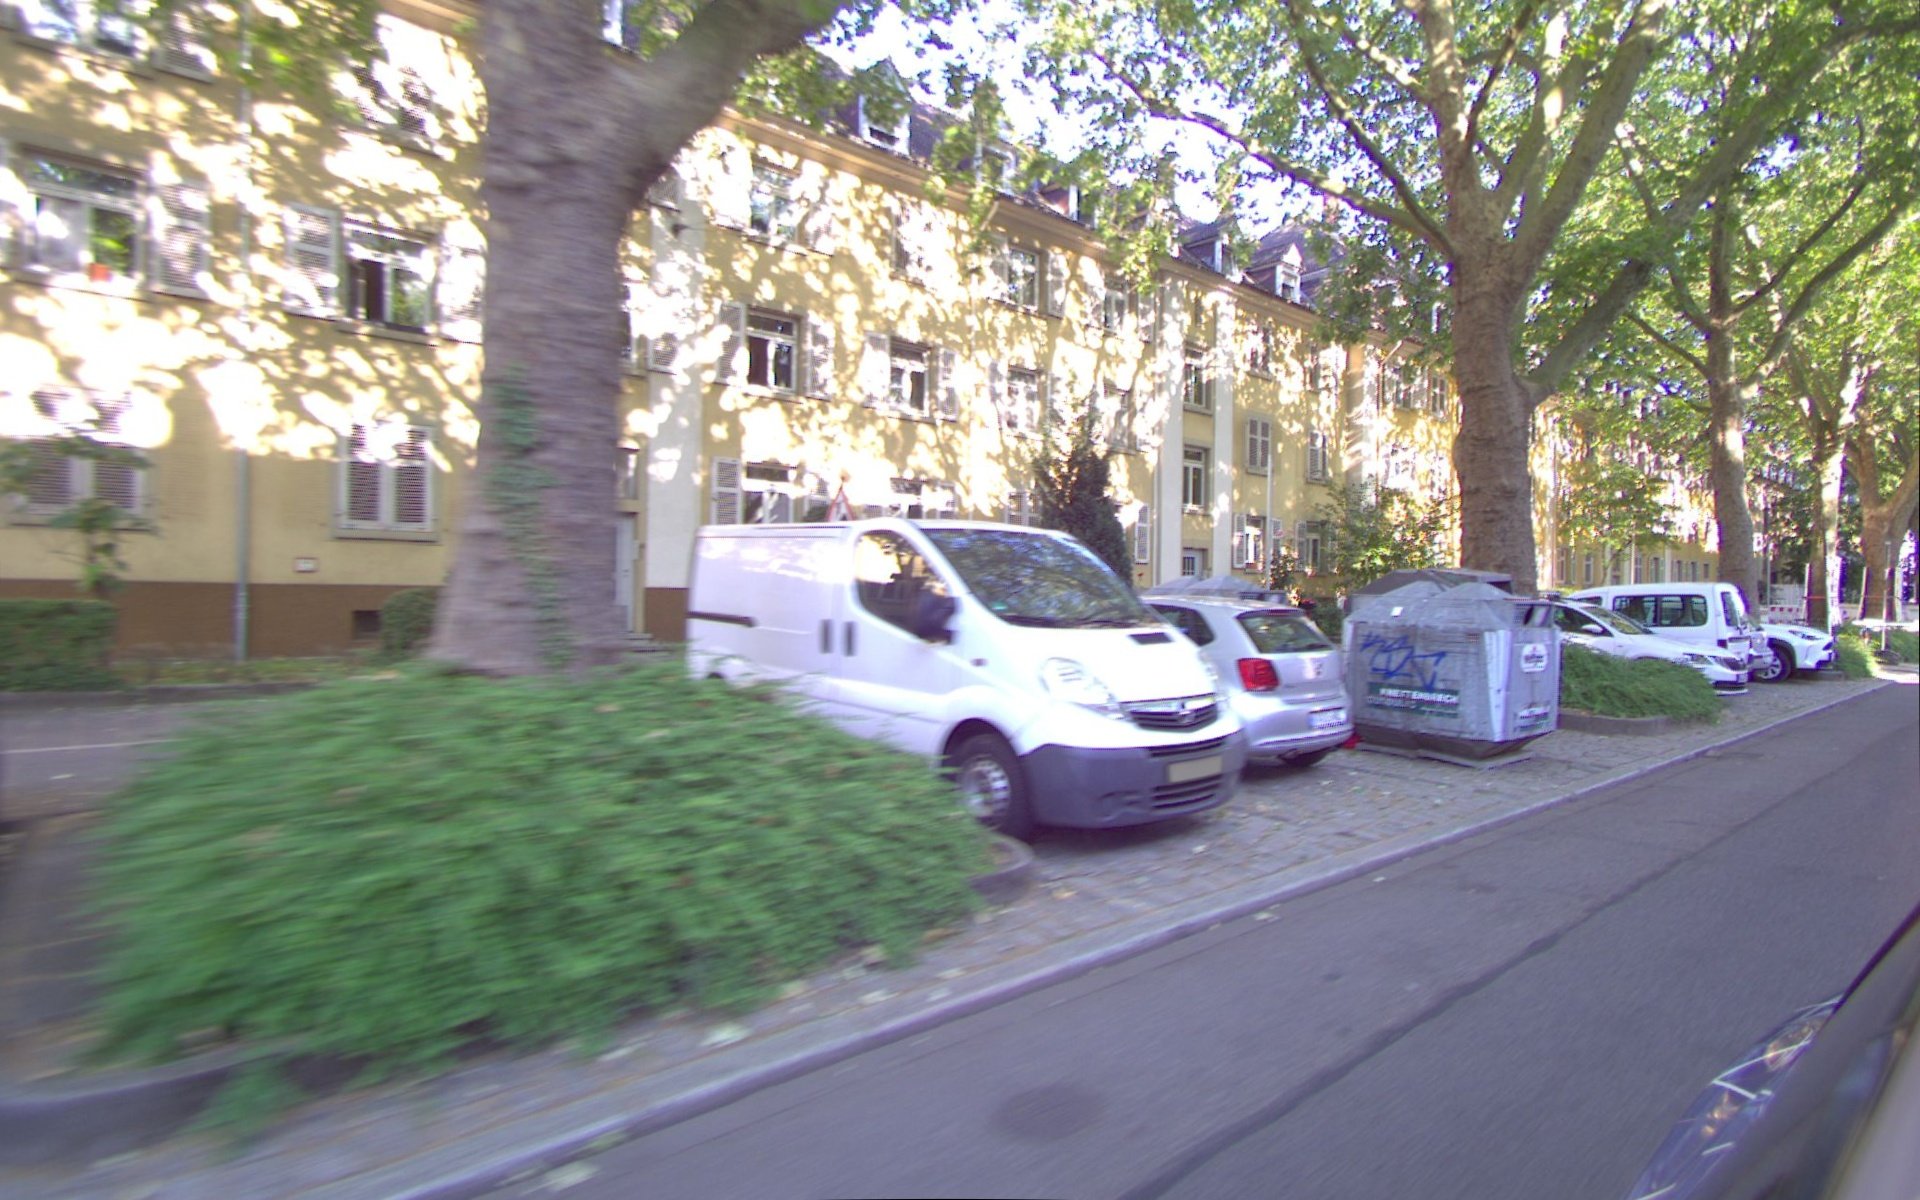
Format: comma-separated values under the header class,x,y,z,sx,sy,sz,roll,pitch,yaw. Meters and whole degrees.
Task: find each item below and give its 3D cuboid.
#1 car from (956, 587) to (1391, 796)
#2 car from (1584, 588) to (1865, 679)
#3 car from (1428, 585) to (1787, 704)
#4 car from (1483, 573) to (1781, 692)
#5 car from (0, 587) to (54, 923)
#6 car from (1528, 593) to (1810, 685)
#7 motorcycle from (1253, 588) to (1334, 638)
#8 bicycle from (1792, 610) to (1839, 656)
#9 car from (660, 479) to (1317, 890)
class,x,y,z,sx,sy,sz,roll,pitch,yaw
car,1.757,0.635,9.066,1.644,1.464,3.530,0,1,-43
car,14.809,0.561,19.771,1.883,1.540,4.095,-1,1,-41
car,9.882,0.580,15.795,1.767,1.561,4.384,1,0,-36
car,11.363,0.461,17.340,1.881,1.794,3.856,0,1,-36
car,-4.386,0.667,3.237,1.770,1.398,4.410,0,1,-36
car,12.857,0.618,18.555,1.817,1.451,3.856,0,1,-36
motorcycle,8.872,0.317,26.977,0.701,1.266,1.993,0,0,-41
bicycle,21.363,0.804,25.259,1.777,1.084,0.636,0,0,-41
car,-0.152,0.370,7.386,2.030,1.988,4.843,0,1,-42
